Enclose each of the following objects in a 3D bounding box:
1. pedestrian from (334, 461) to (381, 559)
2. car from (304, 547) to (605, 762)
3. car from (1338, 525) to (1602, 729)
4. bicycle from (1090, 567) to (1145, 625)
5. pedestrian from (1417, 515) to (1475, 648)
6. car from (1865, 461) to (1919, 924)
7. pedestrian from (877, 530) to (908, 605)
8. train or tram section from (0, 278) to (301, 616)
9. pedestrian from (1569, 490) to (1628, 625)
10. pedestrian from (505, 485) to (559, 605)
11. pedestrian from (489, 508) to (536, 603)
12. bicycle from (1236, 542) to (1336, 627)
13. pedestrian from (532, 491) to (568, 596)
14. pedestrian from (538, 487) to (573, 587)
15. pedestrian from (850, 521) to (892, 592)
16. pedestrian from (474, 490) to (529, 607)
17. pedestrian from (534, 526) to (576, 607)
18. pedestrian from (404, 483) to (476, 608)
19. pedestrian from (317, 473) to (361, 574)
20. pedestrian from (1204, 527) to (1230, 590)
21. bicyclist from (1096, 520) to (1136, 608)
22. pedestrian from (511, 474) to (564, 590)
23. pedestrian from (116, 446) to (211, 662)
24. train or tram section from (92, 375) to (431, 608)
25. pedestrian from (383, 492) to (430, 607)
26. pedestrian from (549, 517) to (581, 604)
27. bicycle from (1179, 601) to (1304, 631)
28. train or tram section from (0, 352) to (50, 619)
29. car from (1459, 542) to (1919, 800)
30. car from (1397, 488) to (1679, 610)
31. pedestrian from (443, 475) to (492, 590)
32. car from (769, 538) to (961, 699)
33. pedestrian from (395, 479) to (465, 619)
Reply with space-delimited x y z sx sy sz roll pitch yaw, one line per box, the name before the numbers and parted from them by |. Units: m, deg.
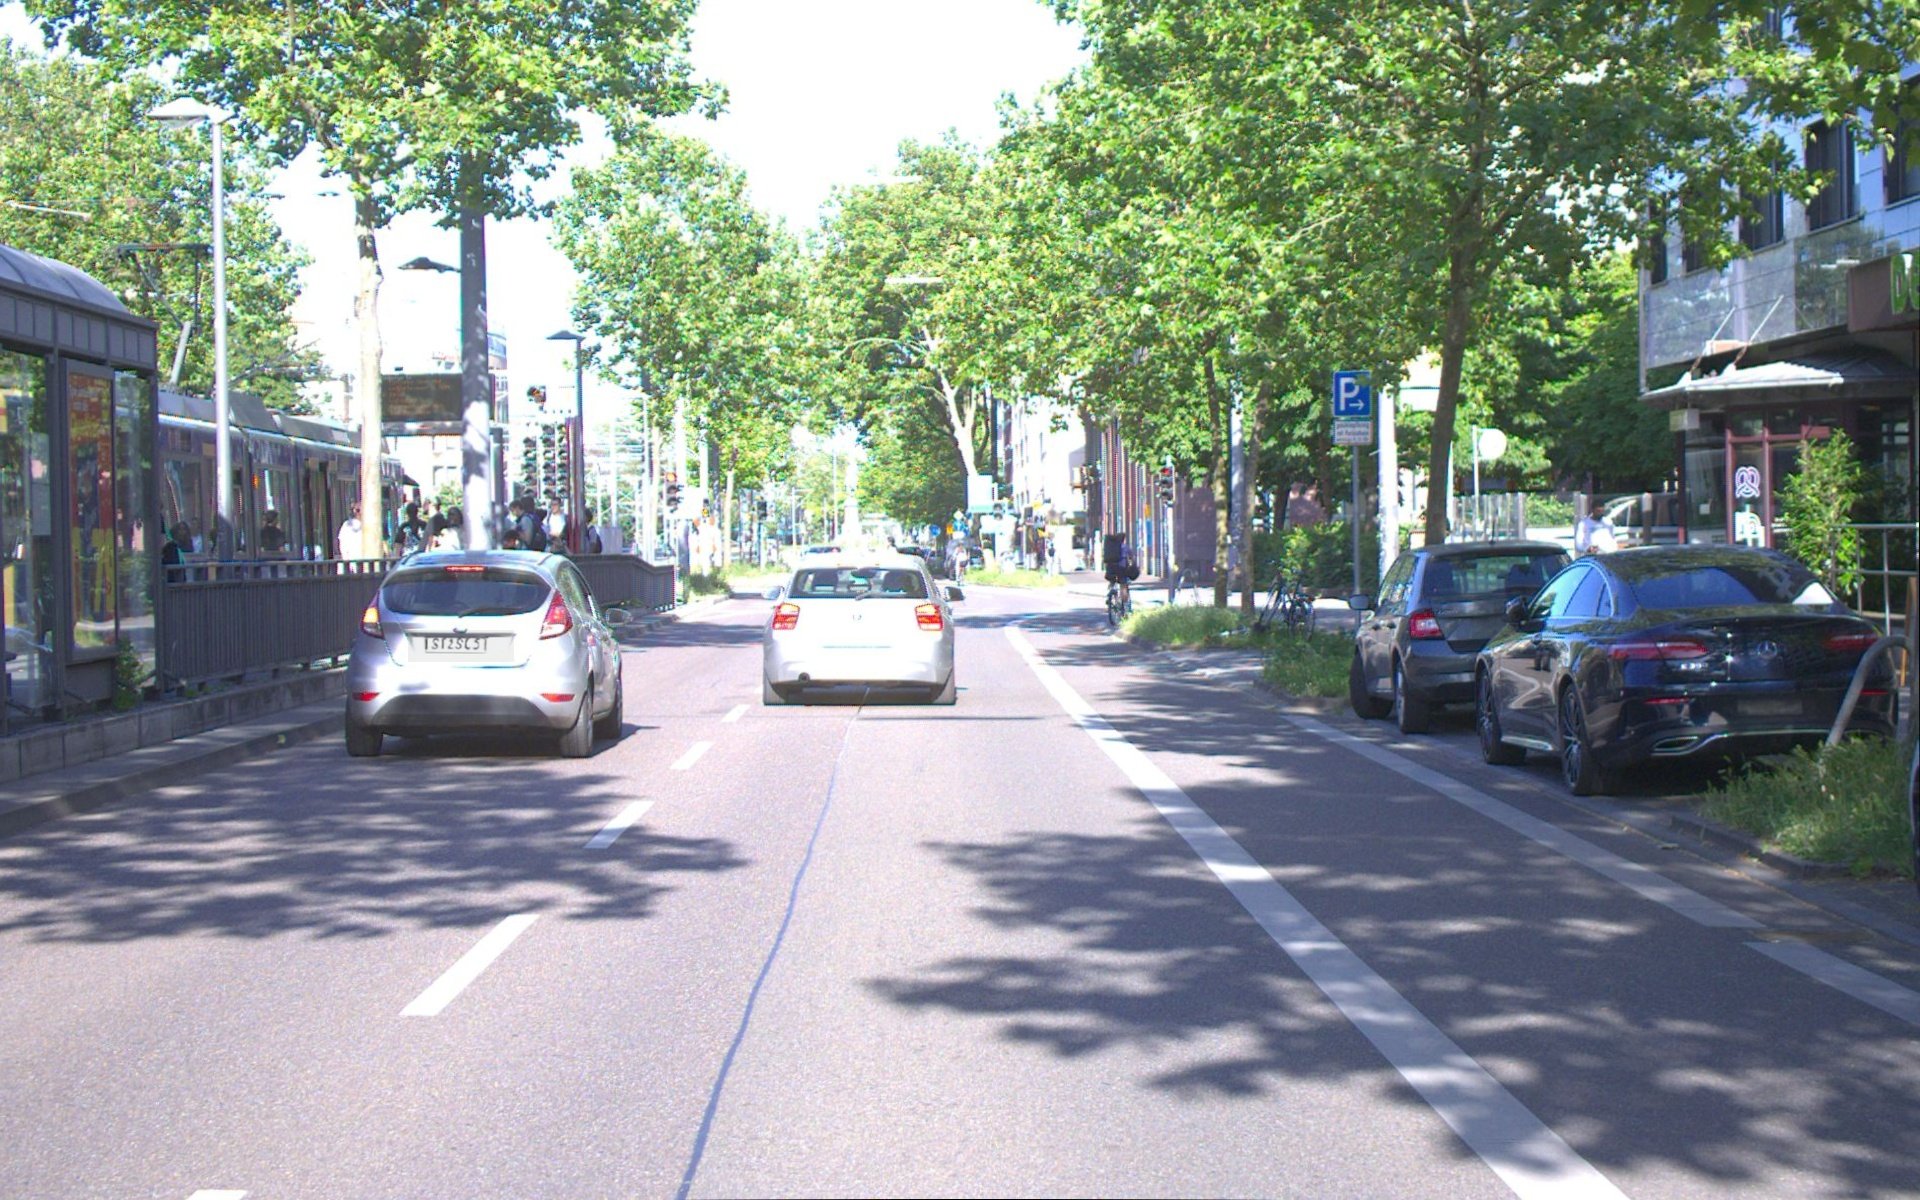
pedestrian | -8.085 -1.208 46.140 0.534 1.295 0.604 -2 1 -4
car | -3.513 0.335 24.429 1.660 1.404 3.632 0 1 -1
car | 4.114 0.169 28.251 1.565 1.545 4.000 0 1 0
bicycle | 3.007 -0.078 65.508 0.832 1.038 1.874 -1 1 8
pedestrian | 6.346 -0.251 44.910 0.560 1.698 1.052 -1 1 -1
car | 4.571 0.371 11.713 1.764 1.785 4.393 -2 1 0
pedestrian | -1.492 -0.706 75.603 0.639 1.614 0.642 -1 -2 -2
train or tram section | -10.760 -1.516 40.937 2.914 3.249 15.894 1 0 -1
pedestrian | 8.373 -0.565 45.094 0.560 1.738 0.879 -1 1 -1
pedestrian | -6.126 -0.787 49.180 0.660 1.690 0.571 -1 1 1
pedestrian | -5.952 -0.597 45.768 0.534 1.242 0.604 -2 1 -2
bicycle | 4.444 -0.224 46.989 0.788 1.129 1.847 -1 1 -13
pedestrian | -6.802 -0.933 57.011 0.547 1.728 0.540 -1 1 -8
pedestrian | -7.054 -1.101 59.911 0.547 1.728 0.540 -1 1 -4
pedestrian | -1.977 -0.967 76.810 0.830 1.570 0.739 0 0 7
pedestrian | -6.459 -0.734 48.469 0.660 1.628 0.571 -1 1 1
pedestrian | -6.031 -0.507 51.216 0.545 1.188 0.531 -1 1 -1
pedestrian | -6.395 -0.675 42.301 0.775 1.504 0.752 -2 1 -4
pedestrian | -9.438 -1.167 52.284 0.545 1.513 0.531 -1 1 -1
pedestrian | 6.645 -1.075 88.921 0.627 1.623 0.943 0 1 8
bicyclist | 2.977 -0.688 65.477 0.658 1.651 0.764 -1 1 8
pedestrian | -6.193 -0.996 50.398 0.660 1.690 0.571 -1 1 1
pedestrian | -6.083 -0.354 26.286 0.567 1.634 0.621 0 1 1
train or tram section | -10.935 -1.559 55.413 2.914 3.249 13.113 1 0 -1
pedestrian | -8.231 -0.750 51.153 0.608 1.696 0.546 -1 1 -4
pedestrian | -6.017 -0.606 52.330 0.415 1.311 0.507 -1 1 -2
bicycle | 3.892 0.219 47.707 1.608 0.352 1.389 -1 1 0
train or tram section | -13.689 -1.337 37.412 2.849 3.422 18.216 1 1 0
car | 4.369 0.352 21.312 1.761 1.413 4.701 0 1 -1
car | 10.867 -0.960 64.855 4.897 1.978 1.913 -3 1 0
pedestrian | -7.346 -1.003 51.299 0.632 1.696 0.747 -1 1 -4
car | -0.906 0.134 33.190 1.730 1.385 3.840 1 2 -1
pedestrian | -6.720 -0.647 43.631 0.775 1.746 0.723 -2 1 -4
